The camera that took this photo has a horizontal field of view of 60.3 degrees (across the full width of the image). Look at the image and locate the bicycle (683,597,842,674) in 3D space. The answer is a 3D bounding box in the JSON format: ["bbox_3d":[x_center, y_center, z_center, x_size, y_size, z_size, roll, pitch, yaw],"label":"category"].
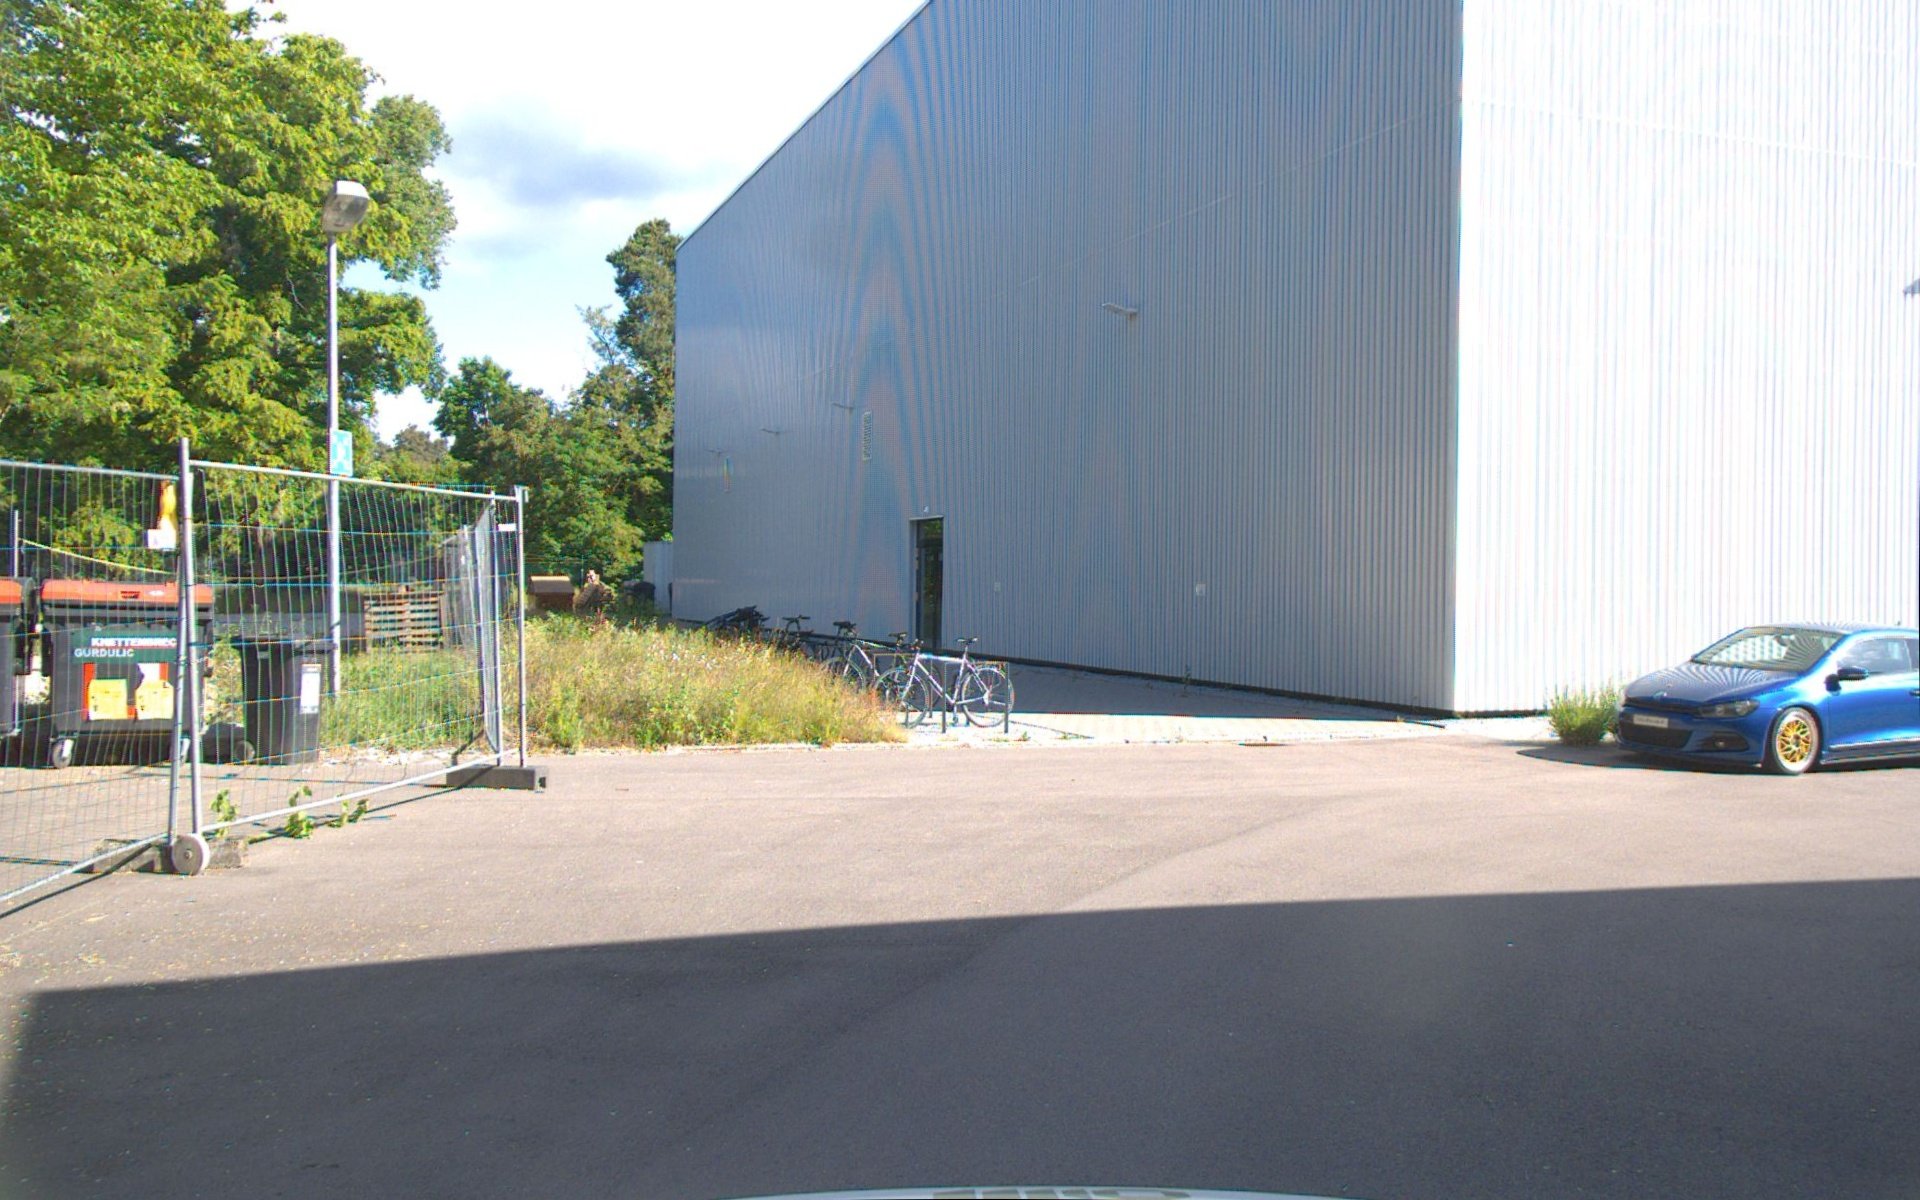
[{"bbox_3d":[-3.446,0.605,28.817,2.588,1.288,1.135,0,0,-17],"label":"bicycle"}]

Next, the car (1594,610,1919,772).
[{"bbox_3d":[8.347,0.825,16.234,3.886,1.373,1.663,0,2,-23],"label":"car"}]

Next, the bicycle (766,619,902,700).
[{"bbox_3d":[-1.780,0.829,23.465,1.862,1.114,0.522,0,0,-23],"label":"bicycle"}]

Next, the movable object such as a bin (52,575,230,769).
[{"bbox_3d":[-6.493,0.545,13.146,1.230,1.470,0.696,1,0,-27],"label":"movable object such as a bin"}]

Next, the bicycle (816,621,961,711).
[{"bbox_3d":[-0.909,0.825,21.083,1.765,1.101,0.522,0,0,-20],"label":"bicycle"}]

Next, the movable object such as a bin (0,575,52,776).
[{"bbox_3d":[-7.706,0.563,12.622,1.322,1.510,0.800,1,0,-28],"label":"movable object such as a bin"}]

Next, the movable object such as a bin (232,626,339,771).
[{"bbox_3d":[-5.454,0.779,13.416,0.724,1.116,0.815,0,0,-18],"label":"movable object such as a bin"}]

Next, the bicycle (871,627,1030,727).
[{"bbox_3d":[-0.097,0.853,18.656,1.777,1.080,0.455,0,0,-27],"label":"bicycle"}]

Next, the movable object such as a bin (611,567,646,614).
[{"bbox_3d":[-14.728,-0.439,73.475,1.396,2.049,1.120,1,0,-17],"label":"movable object such as a bin"}]
